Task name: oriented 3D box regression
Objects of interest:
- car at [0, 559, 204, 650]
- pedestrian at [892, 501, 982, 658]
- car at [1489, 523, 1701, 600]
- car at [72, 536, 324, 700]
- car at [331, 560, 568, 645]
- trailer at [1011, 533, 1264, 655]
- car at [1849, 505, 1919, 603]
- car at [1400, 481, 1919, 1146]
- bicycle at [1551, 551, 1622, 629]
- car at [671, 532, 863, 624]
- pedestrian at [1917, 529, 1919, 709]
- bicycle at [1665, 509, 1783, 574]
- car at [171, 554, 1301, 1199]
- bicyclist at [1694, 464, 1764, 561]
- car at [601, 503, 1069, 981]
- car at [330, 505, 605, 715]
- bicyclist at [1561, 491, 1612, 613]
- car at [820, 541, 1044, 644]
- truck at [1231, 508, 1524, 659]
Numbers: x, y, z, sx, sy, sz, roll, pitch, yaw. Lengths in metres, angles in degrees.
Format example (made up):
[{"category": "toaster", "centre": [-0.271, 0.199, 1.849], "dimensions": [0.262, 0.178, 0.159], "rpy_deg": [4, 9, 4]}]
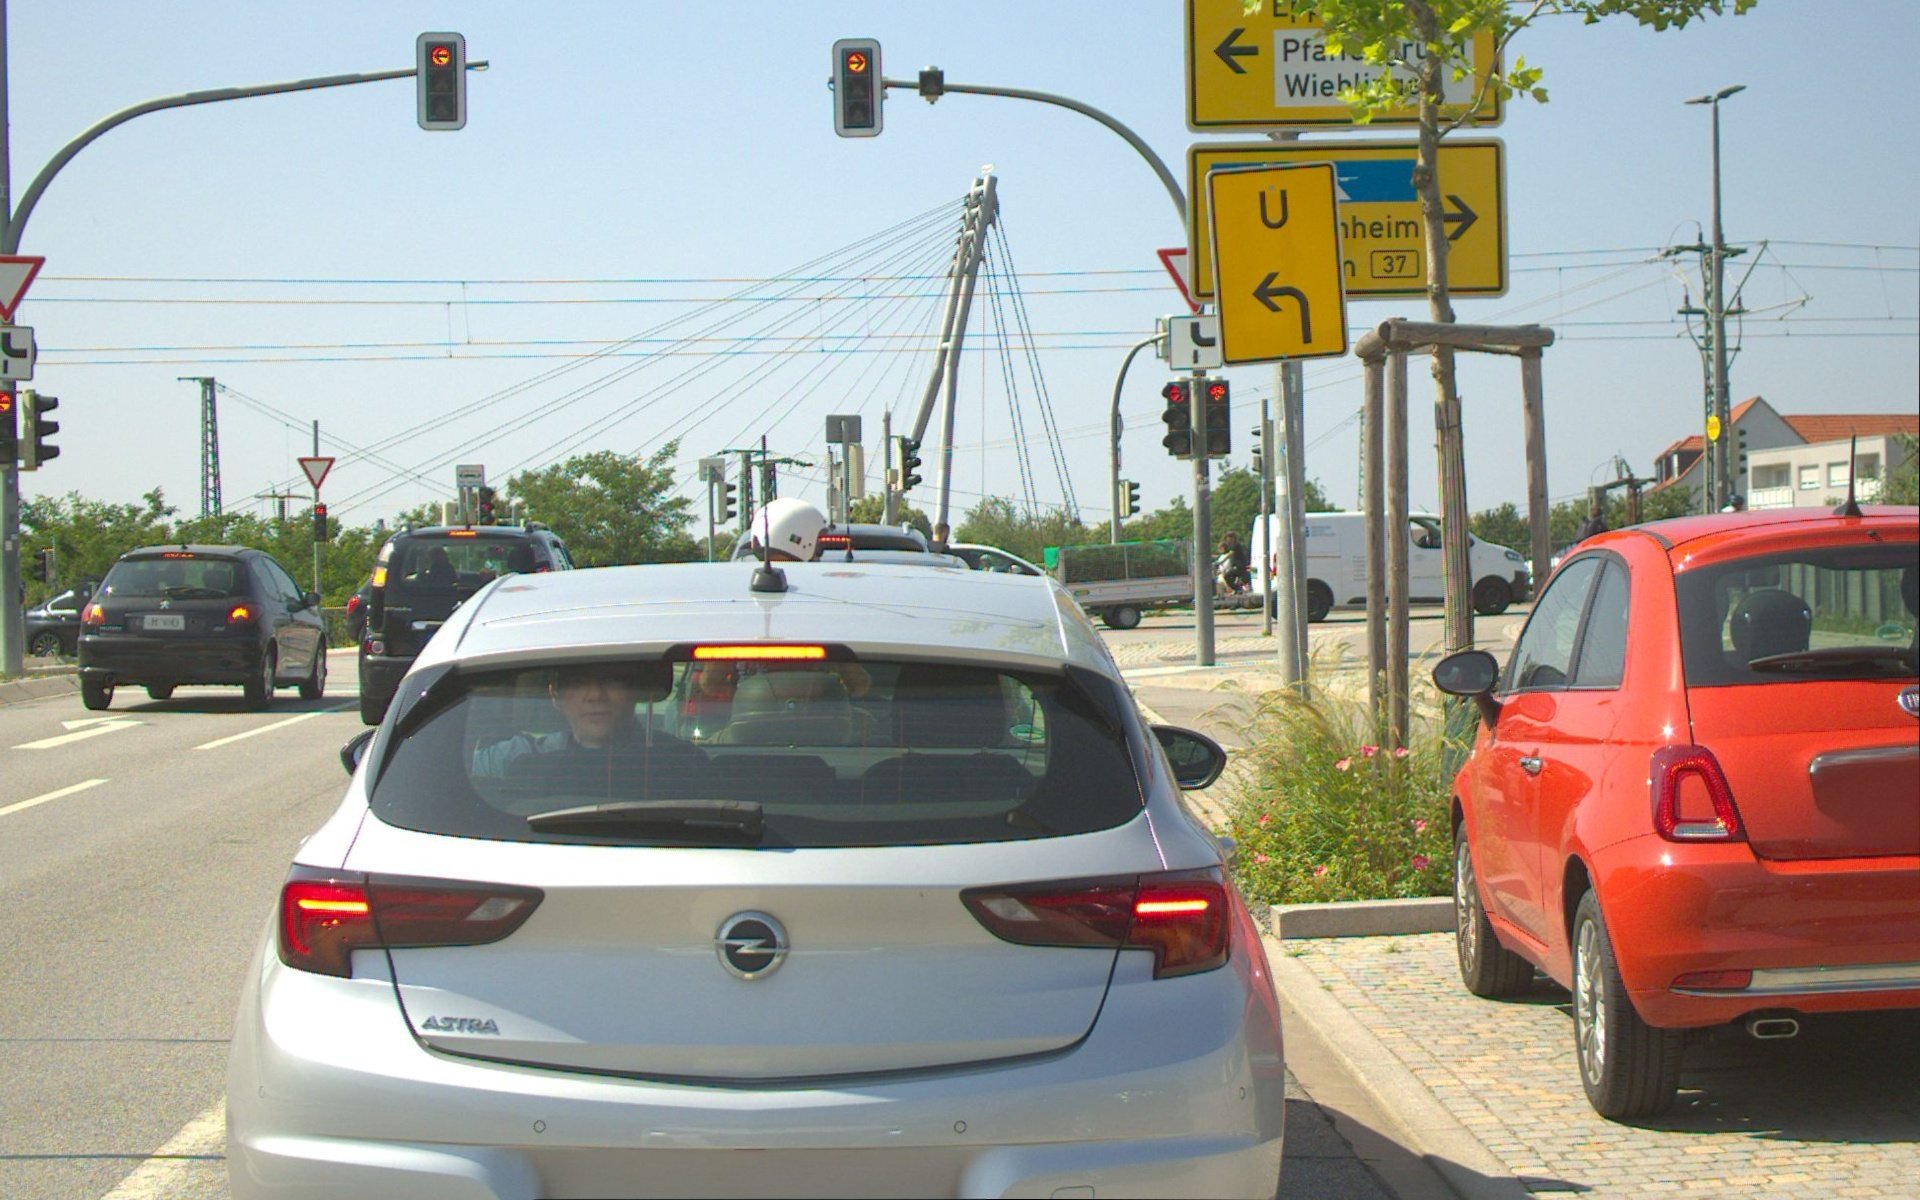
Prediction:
[{"category": "car", "centre": [-16.260, 0.075, 64.816], "dimensions": [3.508, 1.635, 1.800], "rpy_deg": [1, 0, 8]}, {"category": "pedestrian", "centre": [-0.275, -0.244, 41.362], "dimensions": [0.740, 1.857, 0.753], "rpy_deg": [1, 0, -40]}, {"category": "car", "centre": [14.255, -0.860, 77.230], "dimensions": [4.244, 1.668, 2.001], "rpy_deg": [0, 0, -18]}, {"category": "car", "centre": [-6.790, 0.148, 30.907], "dimensions": [1.587, 1.390, 3.340], "rpy_deg": [0, 0, -1]}, {"category": "car", "centre": [-8.855, 0.036, 59.811], "dimensions": [3.775, 1.385, 1.666], "rpy_deg": [1, 0, 5]}, {"category": "trailer", "centre": [3.060, -0.104, 59.843], "dimensions": [3.986, 2.007, 2.001], "rpy_deg": [1, 0, -12]}, {"category": "car", "centre": [19.188, -0.849, 65.338], "dimensions": [4.032, 1.808, 1.932], "rpy_deg": [0, 0, -20]}, {"category": "car", "centre": [2.374, 0.479, 10.026], "dimensions": [1.669, 1.534, 3.916], "rpy_deg": [-2, 0, 1]}, {"category": "bicycle", "centre": [9.772, -0.154, 53.594], "dimensions": [0.554, 1.174, 2.085], "rpy_deg": [3, 1, 24]}, {"category": "car", "centre": [-4.306, -0.490, 76.417], "dimensions": [3.986, 2.007, 2.001], "rpy_deg": [0, 0, -13]}, {"category": "pedestrian", "centre": [6.847, -0.172, 22.722], "dimensions": [0.758, 1.823, 0.885], "rpy_deg": [1, 0, -1]}, {"category": "bicycle", "centre": [12.946, -0.986, 58.239], "dimensions": [1.866, 1.064, 0.578], "rpy_deg": [1, 0, -14]}, {"category": "car", "centre": [-0.382, 0.667, 7.300], "dimensions": [1.690, 1.514, 4.271], "rpy_deg": [0, 1, -1]}, {"category": "bicyclist", "centre": [13.035, -1.472, 58.266], "dimensions": [0.771, 1.604, 0.949], "rpy_deg": [1, 0, -15]}, {"category": "car", "centre": [-0.489, 0.504, 14.151], "dimensions": [1.634, 1.668, 3.745], "rpy_deg": [1, 0, -1]}, {"category": "car", "centre": [-4.040, 0.073, 28.760], "dimensions": [1.803, 1.616, 3.917], "rpy_deg": [0, 0, -1]}, {"category": "bicyclist", "centre": [9.748, -0.739, 53.477], "dimensions": [0.635, 1.881, 0.595], "rpy_deg": [0, 0, 25]}, {"category": "car", "centre": [-0.513, -0.133, 62.758], "dimensions": [3.987, 1.778, 2.000], "rpy_deg": [1, 0, -1]}, {"category": "truck", "centre": [7.352, -0.278, 60.709], "dimensions": [4.692, 2.532, 2.001], "rpy_deg": [1, 0, -11]}]
